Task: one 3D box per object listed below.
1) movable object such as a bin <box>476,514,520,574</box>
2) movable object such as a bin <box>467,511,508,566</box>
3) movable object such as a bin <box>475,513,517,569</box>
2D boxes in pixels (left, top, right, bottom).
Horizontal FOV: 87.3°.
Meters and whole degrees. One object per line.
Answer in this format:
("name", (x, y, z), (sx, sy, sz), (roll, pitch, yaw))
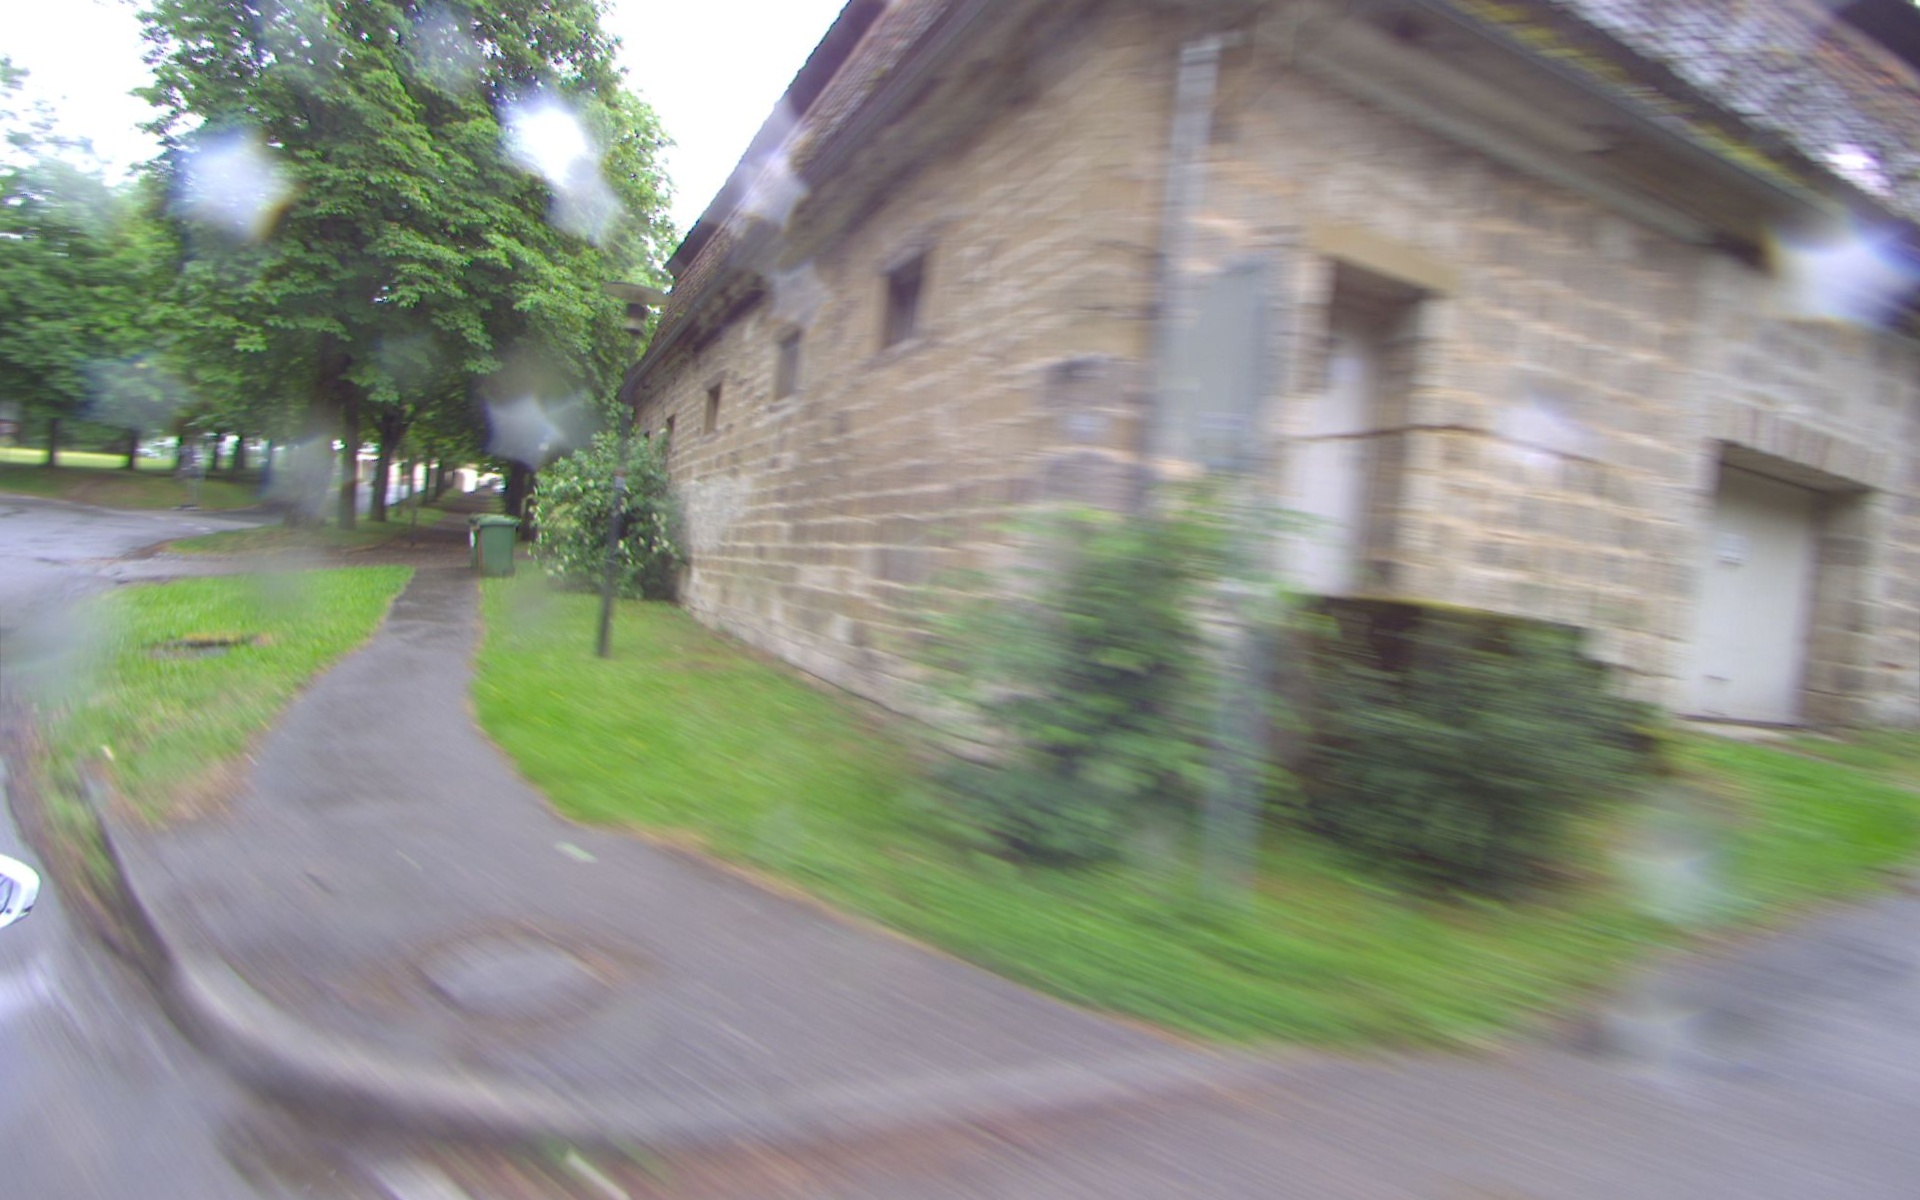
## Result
("movable object such as a bin", (-8.310, -1.017, 18.119), (0.688, 1.055, 0.572), (-1, 6, -24))
("movable object such as a bin", (-9.271, -1.215, 19.771), (0.688, 1.055, 0.656), (-1, 6, -24))
("movable object such as a bin", (-8.865, -1.130, 19.244), (0.688, 1.055, 0.572), (-1, 6, -24))
